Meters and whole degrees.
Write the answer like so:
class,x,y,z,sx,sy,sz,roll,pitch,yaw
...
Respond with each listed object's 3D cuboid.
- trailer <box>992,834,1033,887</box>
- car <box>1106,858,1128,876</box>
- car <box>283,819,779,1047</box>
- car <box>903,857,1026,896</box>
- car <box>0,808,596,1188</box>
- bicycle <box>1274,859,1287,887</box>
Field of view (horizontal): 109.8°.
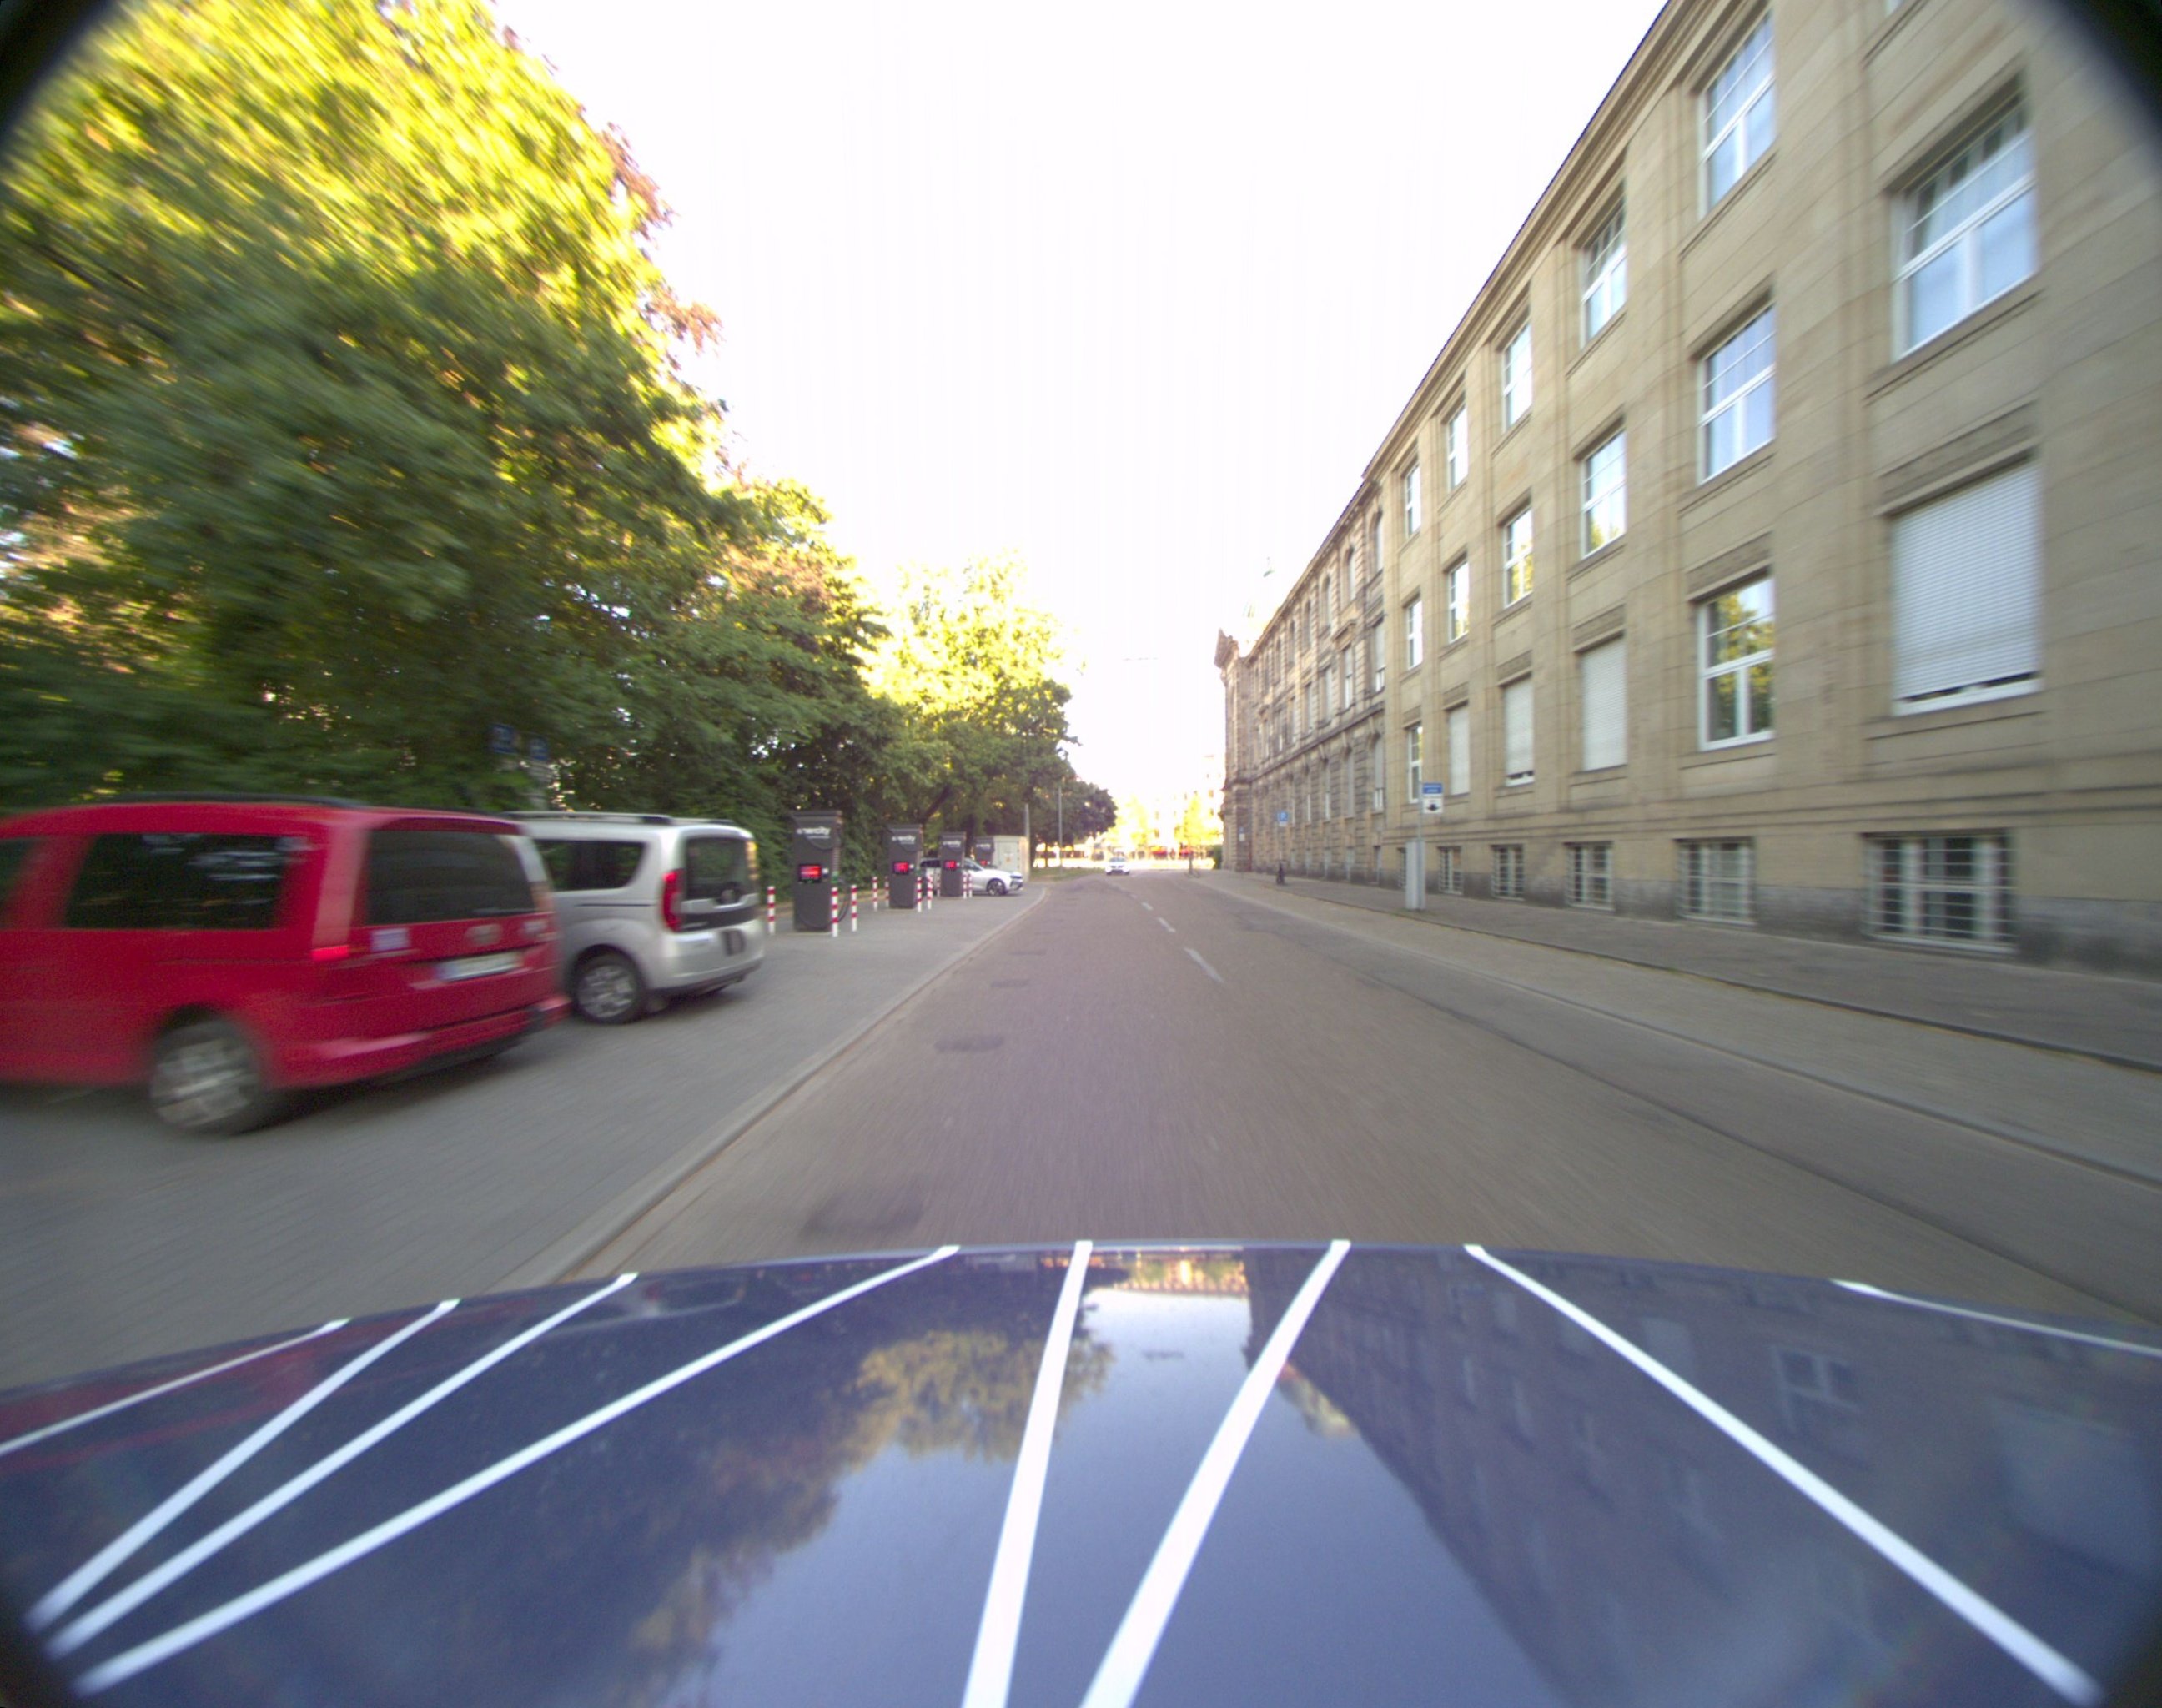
class,x,y,z,sx,sy,sz,roll,pitch,yaw
trailer,-3.561,0.329,39.873,1.601,2.625,3.703,0,0,3
car,3.065,1.028,63.642,1.687,1.444,4.104,0,0,5
car,-5.157,0.668,7.467,3.609,1.873,1.784,1,0,4
car,-4.431,0.864,29.386,4.441,1.458,1.711,0,0,3
car,-5.691,0.685,4.862,3.980,1.852,1.920,1,0,5
bicycle,8.957,0.836,34.164,0.457,1.202,1.879,0,0,11
